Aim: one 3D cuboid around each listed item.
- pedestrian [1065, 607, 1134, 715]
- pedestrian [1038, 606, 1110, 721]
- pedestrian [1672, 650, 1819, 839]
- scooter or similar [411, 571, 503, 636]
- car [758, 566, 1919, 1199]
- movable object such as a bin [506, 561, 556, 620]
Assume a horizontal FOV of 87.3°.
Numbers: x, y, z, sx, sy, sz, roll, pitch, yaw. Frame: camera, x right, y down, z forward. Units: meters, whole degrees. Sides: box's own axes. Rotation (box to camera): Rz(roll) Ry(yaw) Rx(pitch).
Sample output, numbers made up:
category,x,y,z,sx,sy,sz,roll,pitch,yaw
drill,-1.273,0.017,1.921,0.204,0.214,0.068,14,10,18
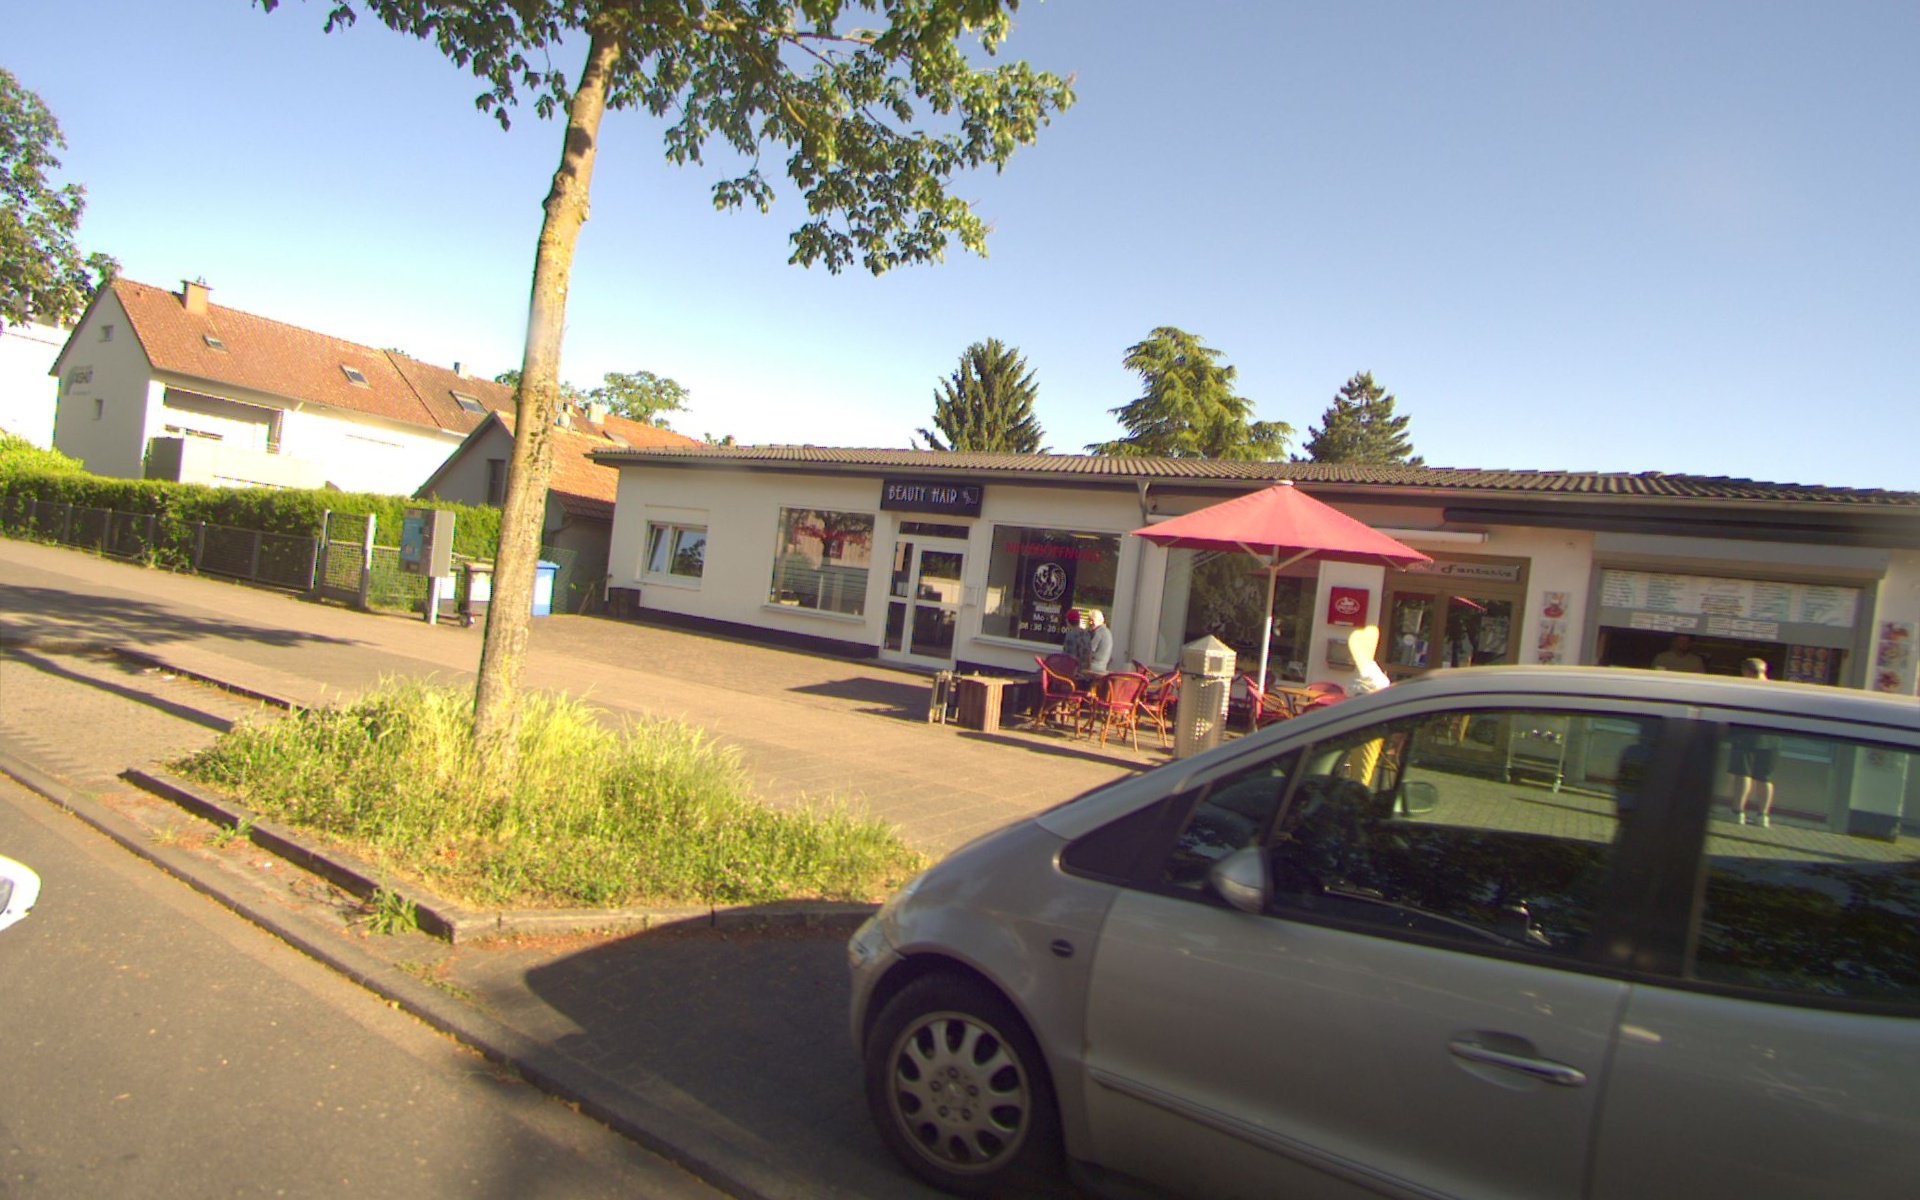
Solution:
category,x,y,z,sx,sy,sz,roll,pitch,yaw
pedestrian,1.935,0.849,13.984,0.656,1.427,0.489,5,1,-30
pedestrian,1.481,0.824,13.095,0.629,1.400,0.439,7,-1,37
pedestrian,8.242,1.481,10.603,0.824,1.800,0.824,7,0,20
scooter or similar,-8.028,0.052,16.054,1.385,0.868,0.369,7,0,19
car,1.772,1.023,2.345,4.310,1.639,1.614,6,-4,33
movable object such as a bin,-8.273,-0.186,19.385,0.734,1.045,0.493,7,3,31
